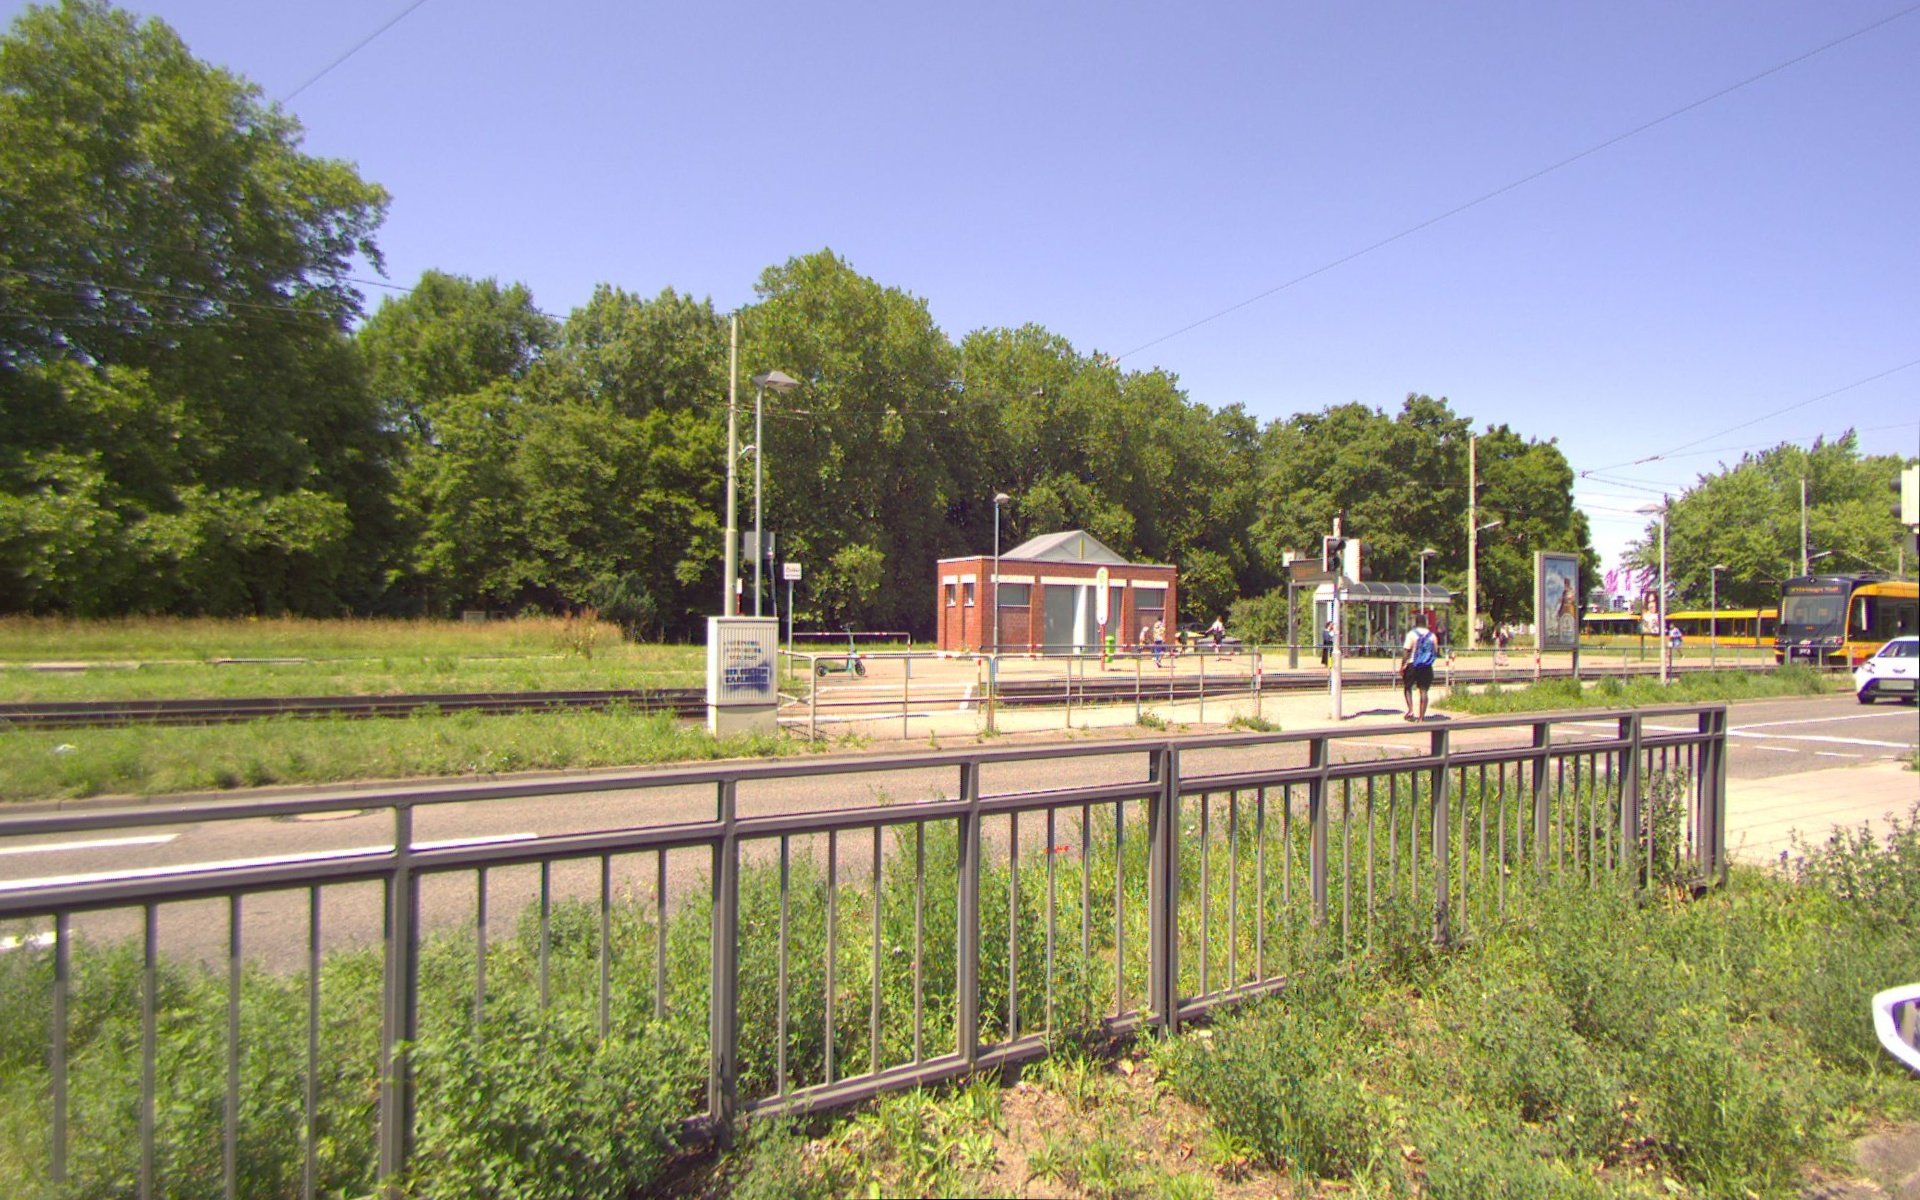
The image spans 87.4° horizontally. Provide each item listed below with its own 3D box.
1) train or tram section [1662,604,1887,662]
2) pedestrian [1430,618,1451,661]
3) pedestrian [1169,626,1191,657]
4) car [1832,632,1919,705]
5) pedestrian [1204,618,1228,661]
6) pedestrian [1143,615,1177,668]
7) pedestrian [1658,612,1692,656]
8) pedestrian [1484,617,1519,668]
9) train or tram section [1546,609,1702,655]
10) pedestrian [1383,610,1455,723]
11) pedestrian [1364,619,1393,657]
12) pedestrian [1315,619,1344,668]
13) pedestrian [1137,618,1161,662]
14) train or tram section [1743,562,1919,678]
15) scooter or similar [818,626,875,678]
[{"bbox_3d":[62.479,2.464,78.362,3.161,3.984,18.506,1,-1,2],"label":"train or tram section"},{"bbox_3d":[20.662,1.675,43.189,0.707,1.824,0.845,0,-1,17],"label":"pedestrian"},{"bbox_3d":[8.213,1.534,37.518,0.560,1.139,0.639,1,-1,-15],"label":"pedestrian"},{"bbox_3d":[21.474,1.495,22.505,3.747,1.514,1.836,1,-1,-30],"label":"car"},{"bbox_3d":[9.073,1.395,35.644,0.573,1.476,0.639,1,-1,-15],"label":"pedestrian"},{"bbox_3d":[6.181,1.289,31.090,0.799,1.611,0.668,1,-1,-30],"label":"pedestrian"},{"bbox_3d":[33.841,1.615,47.541,1.009,2.040,0.976,1,-1,-30],"label":"pedestrian"},{"bbox_3d":[20.031,1.549,37.155,0.832,1.802,0.714,-1,5,-30],"label":"pedestrian"},{"bbox_3d":[63.379,3.002,96.986,3.162,3.984,18.505,1,-1,1],"label":"train or tram section"},{"bbox_3d":[7.672,1.080,16.797,0.711,1.802,0.836,-1,2,-30],"label":"pedestrian"},{"bbox_3d":[17.243,1.573,41.375,0.710,1.531,0.841,1,-1,-19],"label":"pedestrian"},{"bbox_3d":[11.924,1.397,32.381,0.688,1.575,0.629,1,-1,-42],"label":"pedestrian"},{"bbox_3d":[6.604,1.386,35.073,0.563,1.499,0.636,1,-1,-30],"label":"pedestrian"},{"bbox_3d":[41.169,0.991,41.891,29.684,3.799,2.943,1,-1,-31],"label":"train or tram section"},{"bbox_3d":[-2.639,1.203,23.451,1.217,1.183,0.508,1,-1,-30],"label":"scooter or similar"}]
